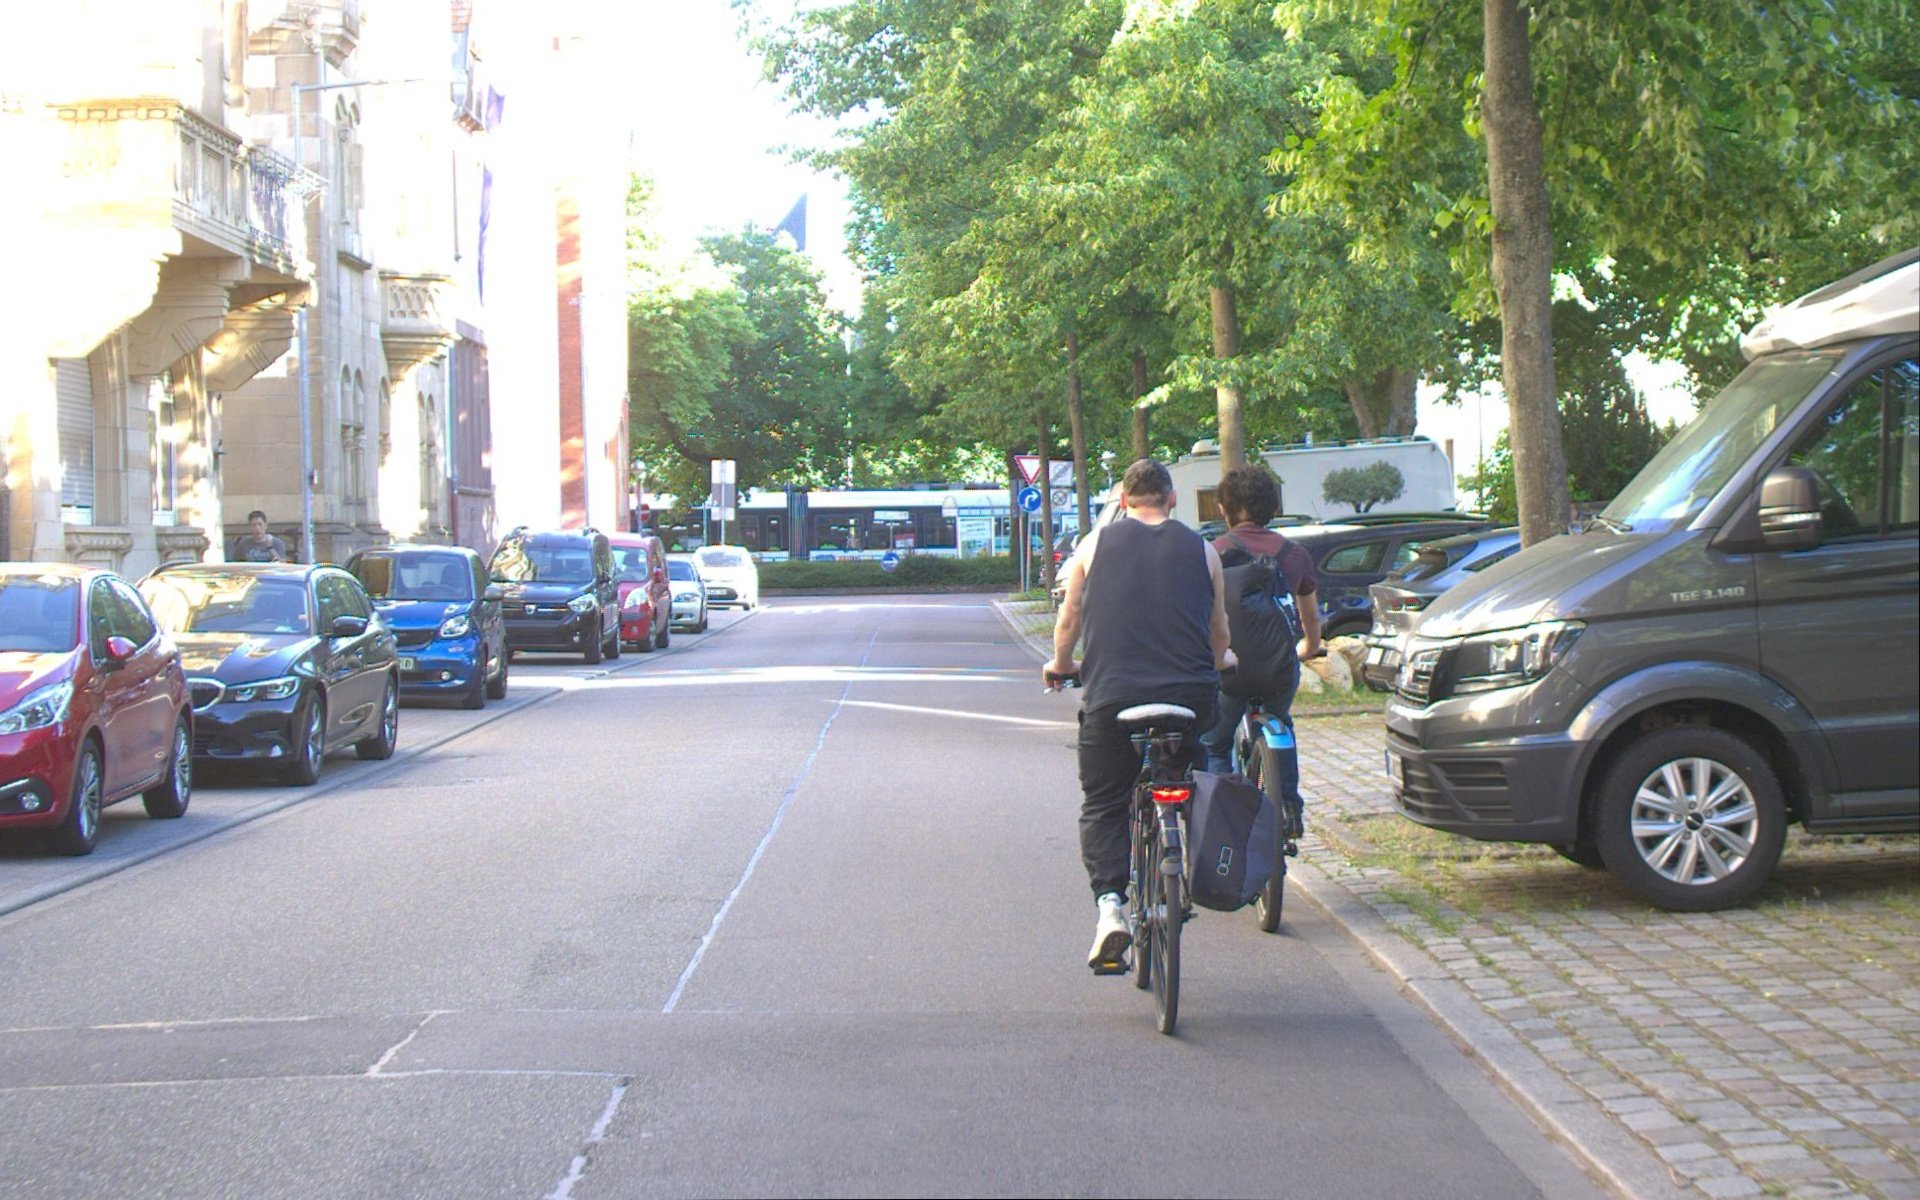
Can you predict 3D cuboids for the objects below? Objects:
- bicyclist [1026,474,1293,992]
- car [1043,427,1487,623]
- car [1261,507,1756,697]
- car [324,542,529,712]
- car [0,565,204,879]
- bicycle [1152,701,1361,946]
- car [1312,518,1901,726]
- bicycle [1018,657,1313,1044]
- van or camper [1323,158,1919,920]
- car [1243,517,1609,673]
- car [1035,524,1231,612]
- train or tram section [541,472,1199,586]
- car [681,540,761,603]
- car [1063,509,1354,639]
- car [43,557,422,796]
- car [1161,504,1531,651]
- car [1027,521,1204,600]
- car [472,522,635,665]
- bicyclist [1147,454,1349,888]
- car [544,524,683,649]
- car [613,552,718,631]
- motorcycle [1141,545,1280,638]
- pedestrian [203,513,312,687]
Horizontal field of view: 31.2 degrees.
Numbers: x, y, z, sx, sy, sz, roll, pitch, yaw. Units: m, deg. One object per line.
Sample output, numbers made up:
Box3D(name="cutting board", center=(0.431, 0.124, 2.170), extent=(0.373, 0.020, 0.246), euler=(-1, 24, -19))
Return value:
Box3D(name="bicyclist", center=(0.610, 0.400, 10.780), extent=(0.730, 1.542, 0.884), euler=(1, 0, -2))
Box3D(name="car", center=(5.137, -1.277, 58.615), extent=(7.146, 2.968, 2.465), euler=(-2, 1, -3))
Box3D(name="car", center=(4.927, 0.031, 31.274), extent=(4.223, 1.594, 1.691), euler=(-1, -1, 1))
Box3D(name="car", center=(-5.148, 0.231, 33.436), extent=(1.595, 1.484, 2.737), euler=(3, 1, -2))
Box3D(name="car", center=(-5.169, 0.562, 18.286), extent=(1.628, 1.448, 3.838), euler=(0, 1, -3))
Box3D(name="bicycle", center=(1.144, 0.849, 13.571), extent=(0.633, 0.796, 1.833), euler=(-1, 1, -1))
Box3D(name="car", center=(4.787, 0.143, 25.780), extent=(4.032, 1.449, 1.691), euler=(-1, 1, -4))
Box3D(name="bicycle", center=(0.604, 0.733, 10.802), extent=(0.737, 1.050, 1.956), euler=(1, 0, -2))
Box3D(name="van or camper", center=(5.198, -0.416, 13.618), extent=(7.147, 2.638, 2.464), euler=(-4, 1, 2))
Box3D(name="car", center=(5.057, -0.042, 37.681), extent=(3.773, 1.594, 1.691), euler=(-1, -1, 1))
Box3D(name="car", center=(3.646, -0.684, 72.982), extent=(3.986, 1.797, 1.834), euler=(1, 0, -2))
Box3D(name="train or tram section", center=(-3.019, -2.481, 124.350), extent=(23.799, 3.696, 4.287), euler=(1, 0, -22))
Box3D(name="car", center=(-5.668, -0.695, 81.844), extent=(1.583, 1.371, 4.131), euler=(1, 1, 0))
Box3D(name="car", center=(3.676, -0.395, 51.302), extent=(4.082, 1.644, 1.641), euler=(-4, 1, -2))
Box3D(name="car", center=(-5.003, 0.463, 24.228), extent=(1.675, 1.425, 4.551), euler=(1, 1, 0))
Box3D(name="car", center=(4.466, -0.241, 40.228), extent=(4.139, 1.594, 1.702), euler=(-1, -1, 1))
Box3D(name="car", center=(3.637, -0.925, 80.867), extent=(3.986, 1.797, 1.834), euler=(1, 0, -2))
Box3D(name="car", center=(-5.433, -0.130, 46.379), extent=(1.640, 1.777, 4.354), euler=(1, 1, 0))
Box3D(name="bicyclist", center=(1.105, 0.258, 13.374), extent=(0.689, 1.621, 0.998), euler=(0, 1, 0))
Box3D(name="car", center=(-5.343, -0.247, 53.469), extent=(1.689, 1.819, 4.273), euler=(1, 1, 0))
Box3D(name="car", center=(-5.480, -0.184, 64.389), extent=(1.583, 1.339, 4.131), euler=(1, 1, 0))
Box3D(name="motorcycle", center=(3.169, -0.106, 43.556), extent=(1.606, 1.137, 0.671), euler=(-1, 1, 33))
Box3D(name="pedestrian", center=(-7.123, 0.002, 34.897), extent=(0.938, 1.736, 0.735), euler=(1, 0, 0))
